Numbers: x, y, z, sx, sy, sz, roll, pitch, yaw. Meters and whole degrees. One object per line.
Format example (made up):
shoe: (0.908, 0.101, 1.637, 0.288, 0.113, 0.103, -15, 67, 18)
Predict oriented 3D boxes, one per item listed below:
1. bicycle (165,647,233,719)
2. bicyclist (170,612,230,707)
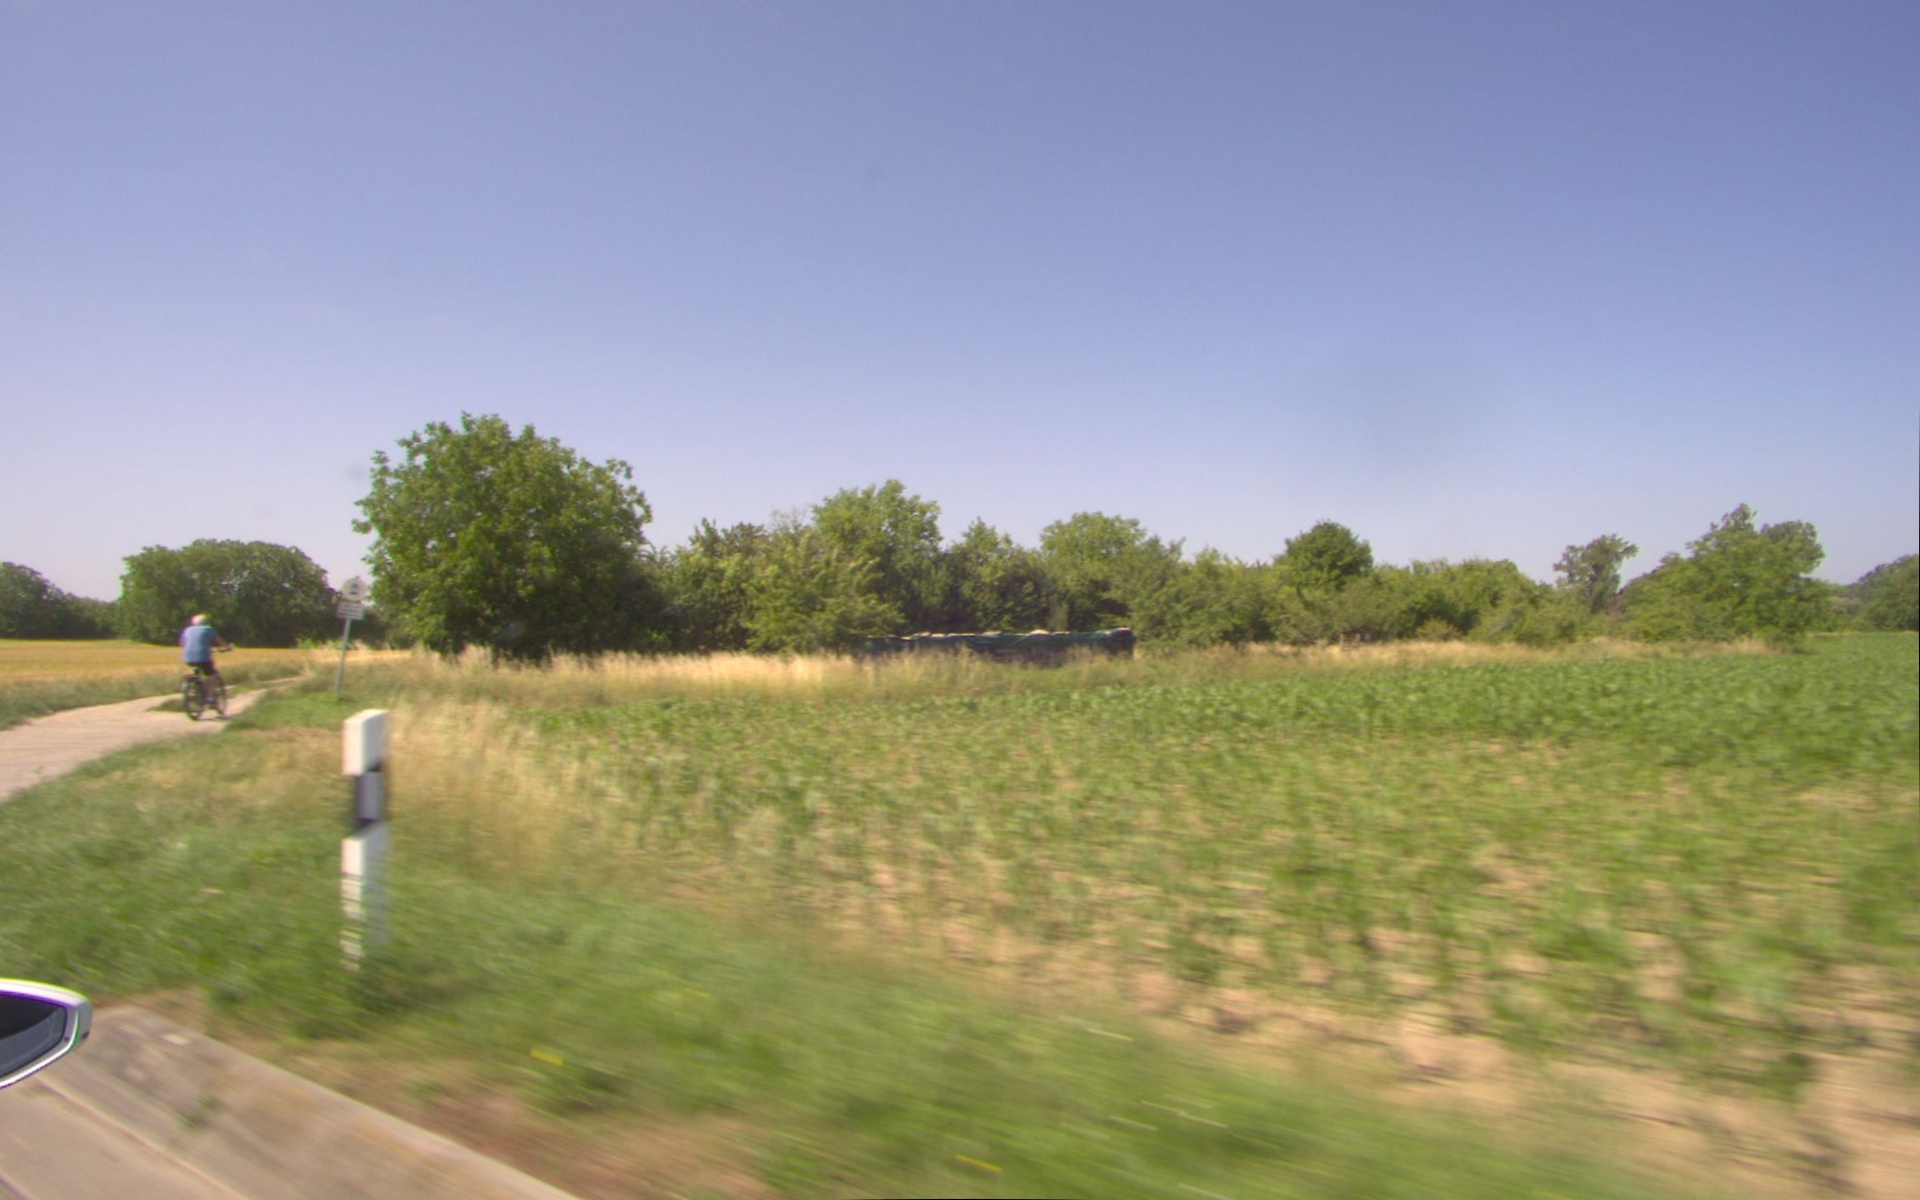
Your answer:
bicycle: (-13.058, 1.394, 17.223, 0.513, 1.130, 1.763, 0, -1, -24)
bicyclist: (-13.060, 1.010, 17.227, 0.664, 1.594, 0.733, 0, -1, -24)
